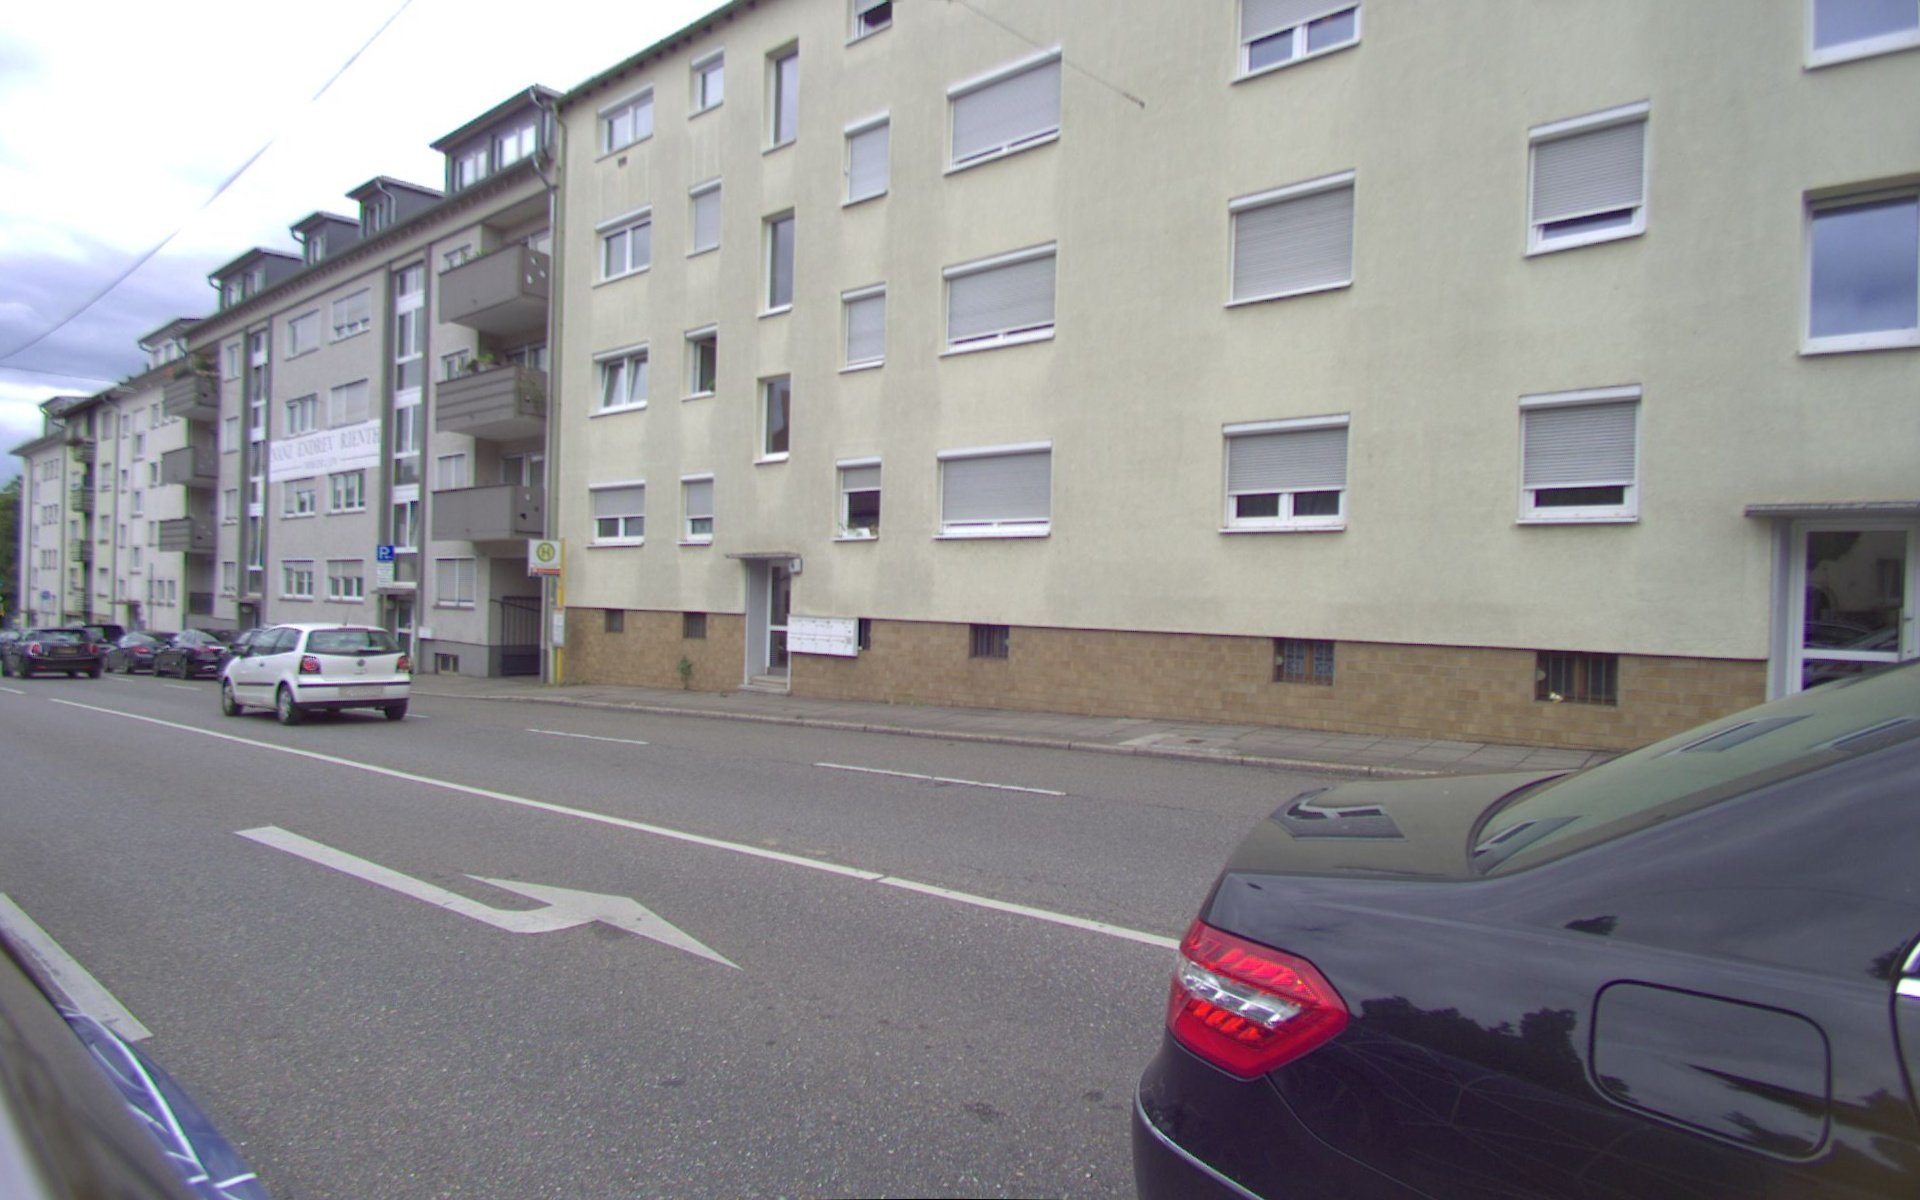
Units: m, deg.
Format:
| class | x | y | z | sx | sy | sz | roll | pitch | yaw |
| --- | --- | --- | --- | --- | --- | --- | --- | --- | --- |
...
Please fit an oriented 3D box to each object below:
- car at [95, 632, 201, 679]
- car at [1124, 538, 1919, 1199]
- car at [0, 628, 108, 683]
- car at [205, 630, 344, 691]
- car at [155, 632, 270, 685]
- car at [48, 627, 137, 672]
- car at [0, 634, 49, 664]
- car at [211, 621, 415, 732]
| class | x | y | z | sx | sy | sz | roll | pitch | yaw |
| --- | --- | --- | --- | --- | --- | --- | --- | --- | --- |
| car | -26.237 | 1.762 | 32.676 | 3.533 | 1.414 | 1.755 | -1 | -3 | 36 |
| car | 2.712 | 0.652 | 0.709 | 4.840 | 1.440 | 1.973 | -1 | -2 | 41 |
| car | -25.696 | 1.527 | 28.480 | 3.637 | 1.414 | 1.755 | -1 | -3 | 36 |
| car | -17.586 | 1.516 | 25.926 | 3.680 | 1.422 | 1.755 | -1 | -3 | 36 |
| car | -21.449 | 1.650 | 29.013 | 3.533 | 1.386 | 1.649 | -1 | -3 | 36 |
| car | -33.137 | 1.882 | 38.654 | 3.533 | 1.613 | 1.755 | -1 | -3 | 36 |
| car | -46.175 | 2.365 | 49.415 | 3.752 | 1.414 | 1.755 | -1 | -3 | 36 |
| car | -9.978 | 1.083 | 15.527 | 3.595 | 1.494 | 1.573 | -1 | -2 | 39 |
